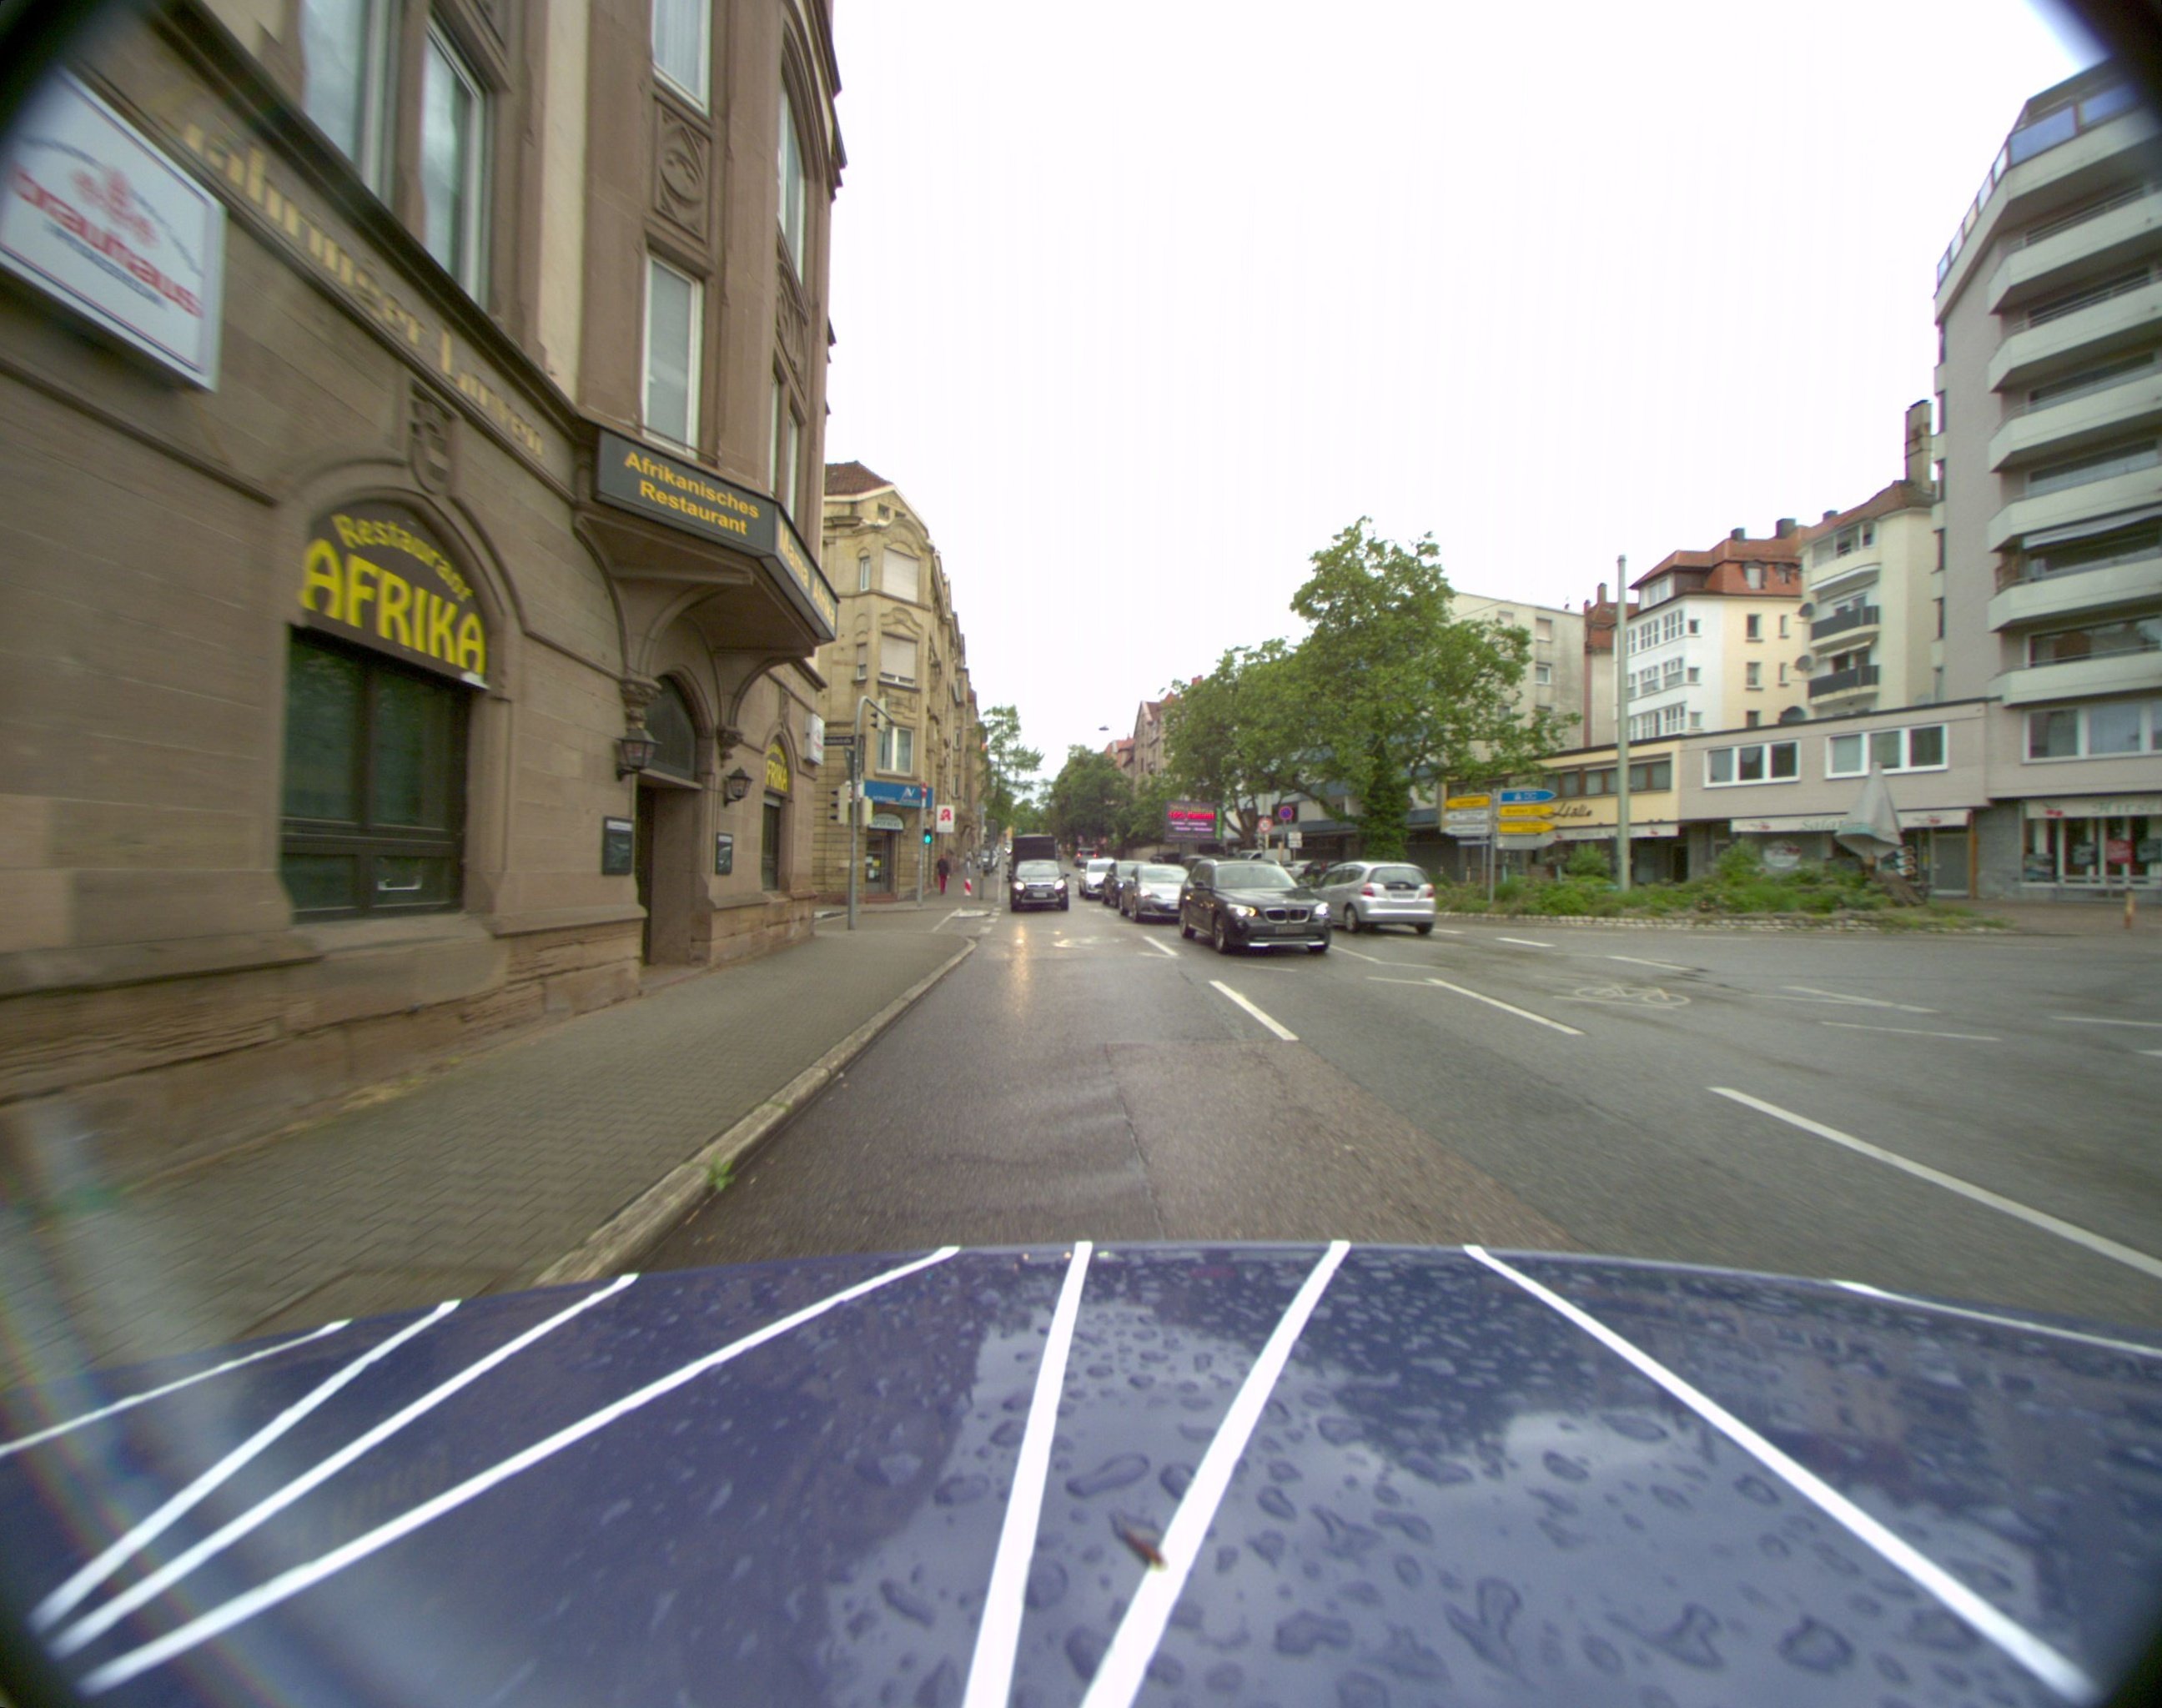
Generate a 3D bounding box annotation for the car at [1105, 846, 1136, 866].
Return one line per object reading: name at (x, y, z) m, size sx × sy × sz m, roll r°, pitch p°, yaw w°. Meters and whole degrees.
car at (2.991, 0.148, 57.792) m, size 1.719 × 1.488 × 3.680 m, roll 0°, pitch 1°, yaw -7°

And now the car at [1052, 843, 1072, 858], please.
car at (-2.119, -0.423, 82.604) m, size 1.732 × 1.440 × 4.321 m, roll 3°, pitch 1°, yaw -7°

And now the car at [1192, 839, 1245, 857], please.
car at (10.607, -0.484, 58.616) m, size 3.841 × 1.397 × 1.687 m, roll -1°, pitch 2°, yaw -27°

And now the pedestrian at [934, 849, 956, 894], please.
pedestrian at (-6.126, 0.780, 34.339) m, size 0.699 × 1.939 × 1.090 m, roll 3°, pitch 4°, yaw 2°

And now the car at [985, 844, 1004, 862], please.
car at (-8.115, -0.090, 71.398) m, size 1.548 × 1.478 × 3.759 m, roll 4°, pitch 1°, yaw -6°

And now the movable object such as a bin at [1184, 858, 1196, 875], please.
movable object such as a bin at (7.172, 0.827, 50.157) m, size 0.643 × 1.073 × 0.627 m, roll 0°, pitch 2°, yaw -9°

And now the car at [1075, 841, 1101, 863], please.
car at (0.622, -0.220, 72.219) m, size 1.819 × 1.871 × 4.238 m, roll 4°, pitch 1°, yaw -6°

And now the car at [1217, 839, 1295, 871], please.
car at (11.651, 0.013, 50.429) m, size 4.983 × 1.966 × 1.876 m, roll -2°, pitch 2°, yaw -26°

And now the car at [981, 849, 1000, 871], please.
car at (-7.874, 0.490, 66.225) m, size 1.527 × 1.609 × 3.490 m, roll 4°, pitch 2°, yaw -6°

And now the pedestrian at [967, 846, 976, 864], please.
pedestrian at (-9.386, 0.071, 65.279) m, size 0.645 × 1.489 × 0.690 m, roll 3°, pitch 5°, yaw -6°

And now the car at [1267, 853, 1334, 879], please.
car at (13.187, 0.694, 45.642) m, size 3.711 × 1.408 × 1.807 m, roll -2°, pitch 2°, yaw -31°

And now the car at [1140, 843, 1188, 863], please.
car at (7.259, -0.099, 66.257) m, size 3.842 × 1.523 × 1.766 m, roll -4°, pitch 4°, yaw -34°

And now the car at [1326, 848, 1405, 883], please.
car at (15.343, 0.568, 40.854) m, size 4.223 × 1.633 × 1.936 m, roll -2°, pitch 2°, yaw -35°

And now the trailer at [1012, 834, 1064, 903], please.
trailer at (-1.849, 0.514, 31.427) m, size 1.939 × 2.622 × 4.681 m, roll -1°, pitch 1°, yaw -6°

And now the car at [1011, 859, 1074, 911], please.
car at (-1.348, 0.959, 25.123) m, size 1.863 × 1.504 × 3.679 m, roll 1°, pitch 1°, yaw -6°

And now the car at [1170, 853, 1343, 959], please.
car at (2.865, 0.771, 13.411) m, size 1.757 × 1.526 × 4.213 m, roll -1°, pitch 0°, yaw -5°

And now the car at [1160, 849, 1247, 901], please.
car at (4.654, 0.746, 29.467) m, size 1.749 × 1.836 × 4.140 m, roll 0°, pitch 1°, yaw -15°

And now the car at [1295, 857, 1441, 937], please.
car at (6.187, 0.840, 16.850) m, size 1.629 × 1.509 × 3.869 m, roll -1°, pitch 0°, yaw -2°

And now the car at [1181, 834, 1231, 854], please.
car at (9.979, -0.817, 60.501) m, size 3.842 × 1.398 × 1.676 m, roll -4°, pitch 4°, yaw -36°

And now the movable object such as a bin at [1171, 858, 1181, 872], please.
movable object such as a bin at (6.313, 0.752, 50.395) m, size 0.485 × 0.896 × 0.545 m, roll 0°, pitch 2°, yaw -9°

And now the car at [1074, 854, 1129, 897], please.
car at (0.816, 0.875, 33.118) m, size 1.757 × 1.635 × 4.375 m, roll -1°, pitch 2°, yaw -7°

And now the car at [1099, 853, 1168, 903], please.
car at (1.782, 0.810, 27.074) m, size 1.757 × 1.635 × 4.210 m, roll -1°, pitch -1°, yaw -6°

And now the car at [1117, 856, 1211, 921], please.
car at (2.047, 0.813, 19.929) m, size 1.757 × 1.474 × 4.179 m, roll 0°, pitch 0°, yaw -4°

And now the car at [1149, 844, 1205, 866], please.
car at (7.972, 0.066, 62.883) m, size 4.318 × 1.584 × 1.806 m, roll -2°, pitch 3°, yaw -30°

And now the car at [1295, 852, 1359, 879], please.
car at (14.121, 0.631, 43.582) m, size 3.628 × 1.408 × 1.626 m, roll -2°, pitch 2°, yaw -35°
